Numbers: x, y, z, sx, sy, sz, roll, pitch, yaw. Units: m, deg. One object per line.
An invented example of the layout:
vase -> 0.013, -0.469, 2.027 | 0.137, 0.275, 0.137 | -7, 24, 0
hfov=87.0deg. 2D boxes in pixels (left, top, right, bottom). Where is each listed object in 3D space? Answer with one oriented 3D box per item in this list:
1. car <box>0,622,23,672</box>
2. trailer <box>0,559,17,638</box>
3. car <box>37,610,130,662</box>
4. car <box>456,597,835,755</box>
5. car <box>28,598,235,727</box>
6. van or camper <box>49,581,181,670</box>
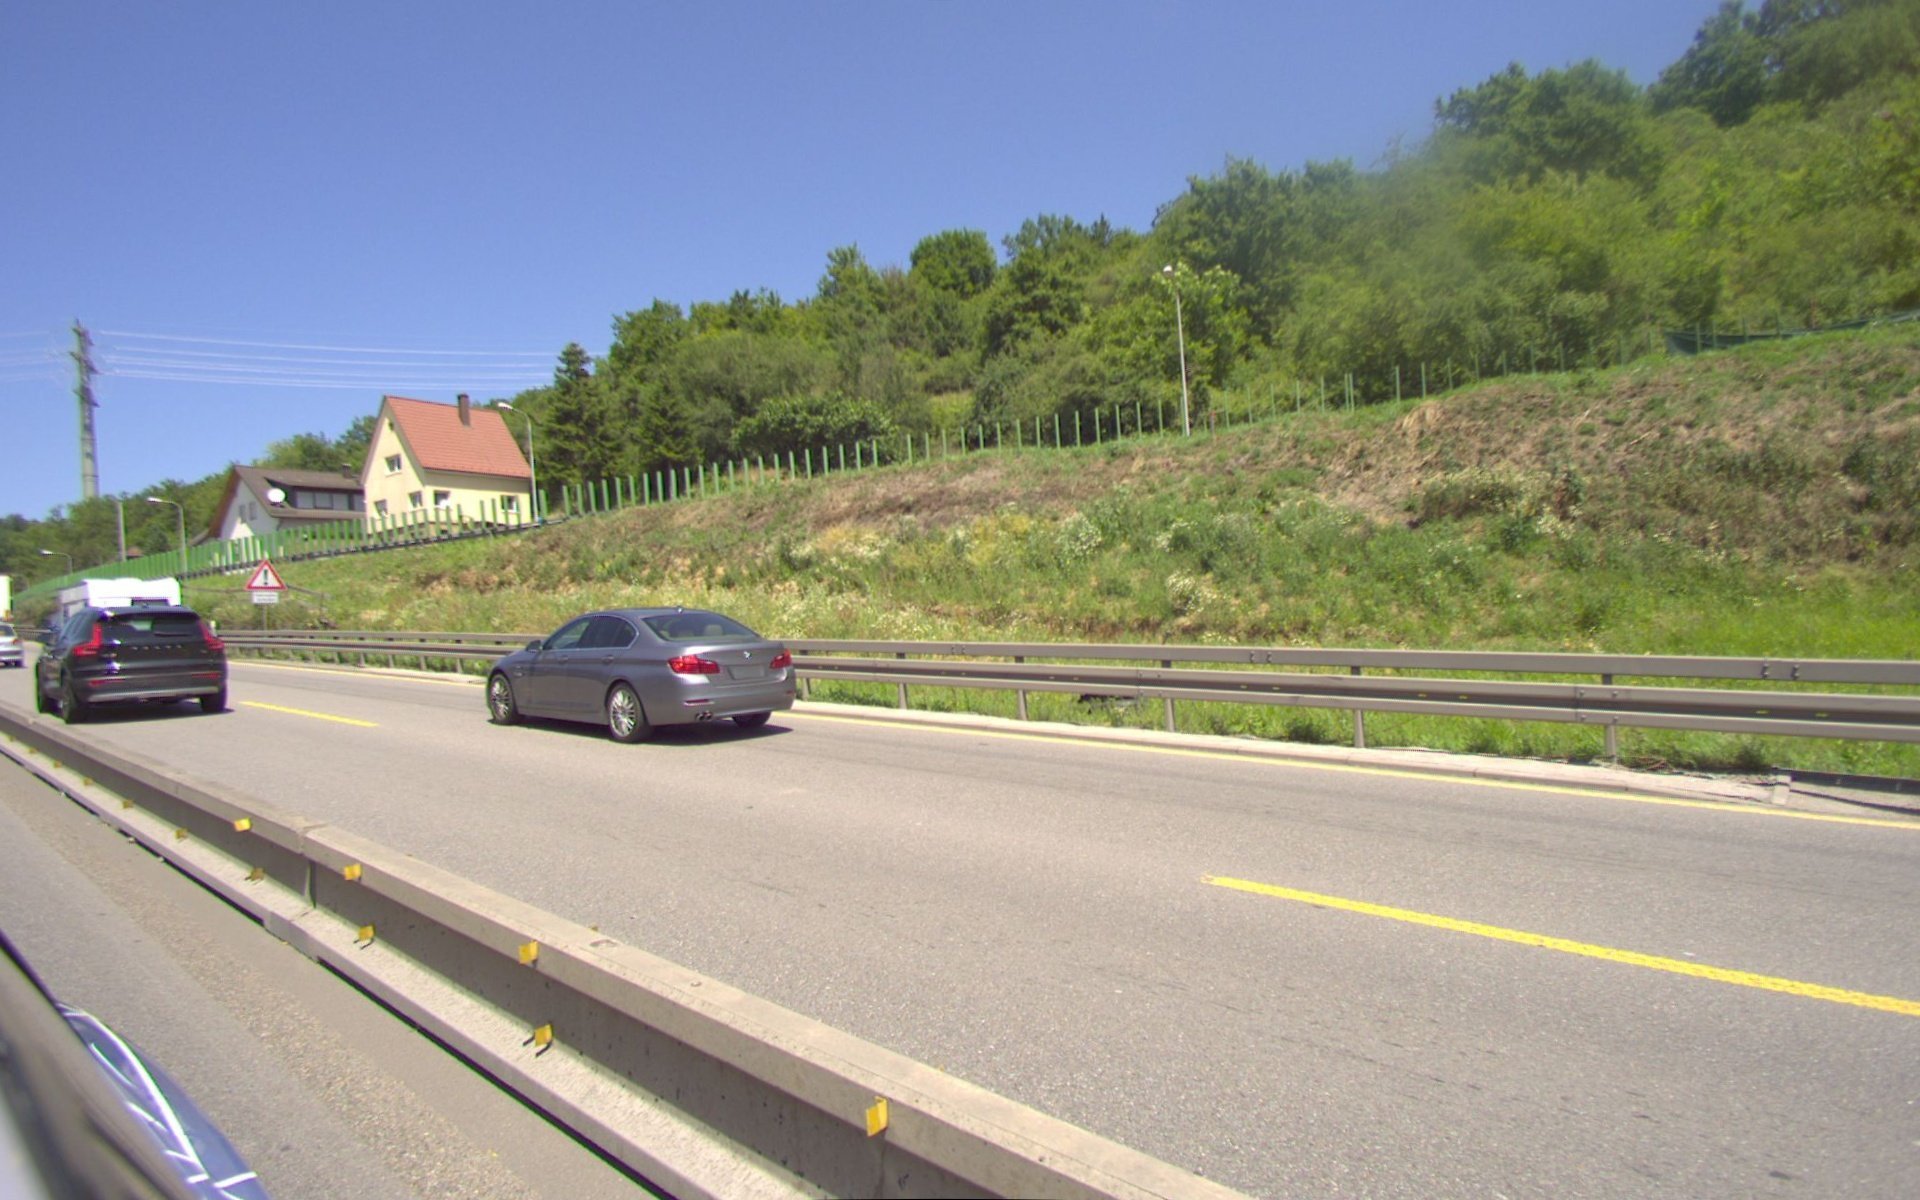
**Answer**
car -> -29.543, 1.413, 30.419 | 3.904, 1.461, 1.649 | -2, 0, 42
trailer -> -60.528, 0.009, 61.517 | 14.621, 4.475, 3.071 | -1, 0, 41
car -> -32.426, 1.268, 37.400 | 4.686, 1.769, 1.973 | -1, 0, 41
car -> -4.029, 0.760, 12.342 | 5.299, 1.519, 1.972 | -1, 0, 42
car -> -12.716, 0.870, 15.455 | 3.999, 1.696, 1.850 | -2, -1, 42
van or camper -> -28.097, 0.782, 33.555 | 6.899, 2.654, 2.325 | -1, 0, 41
